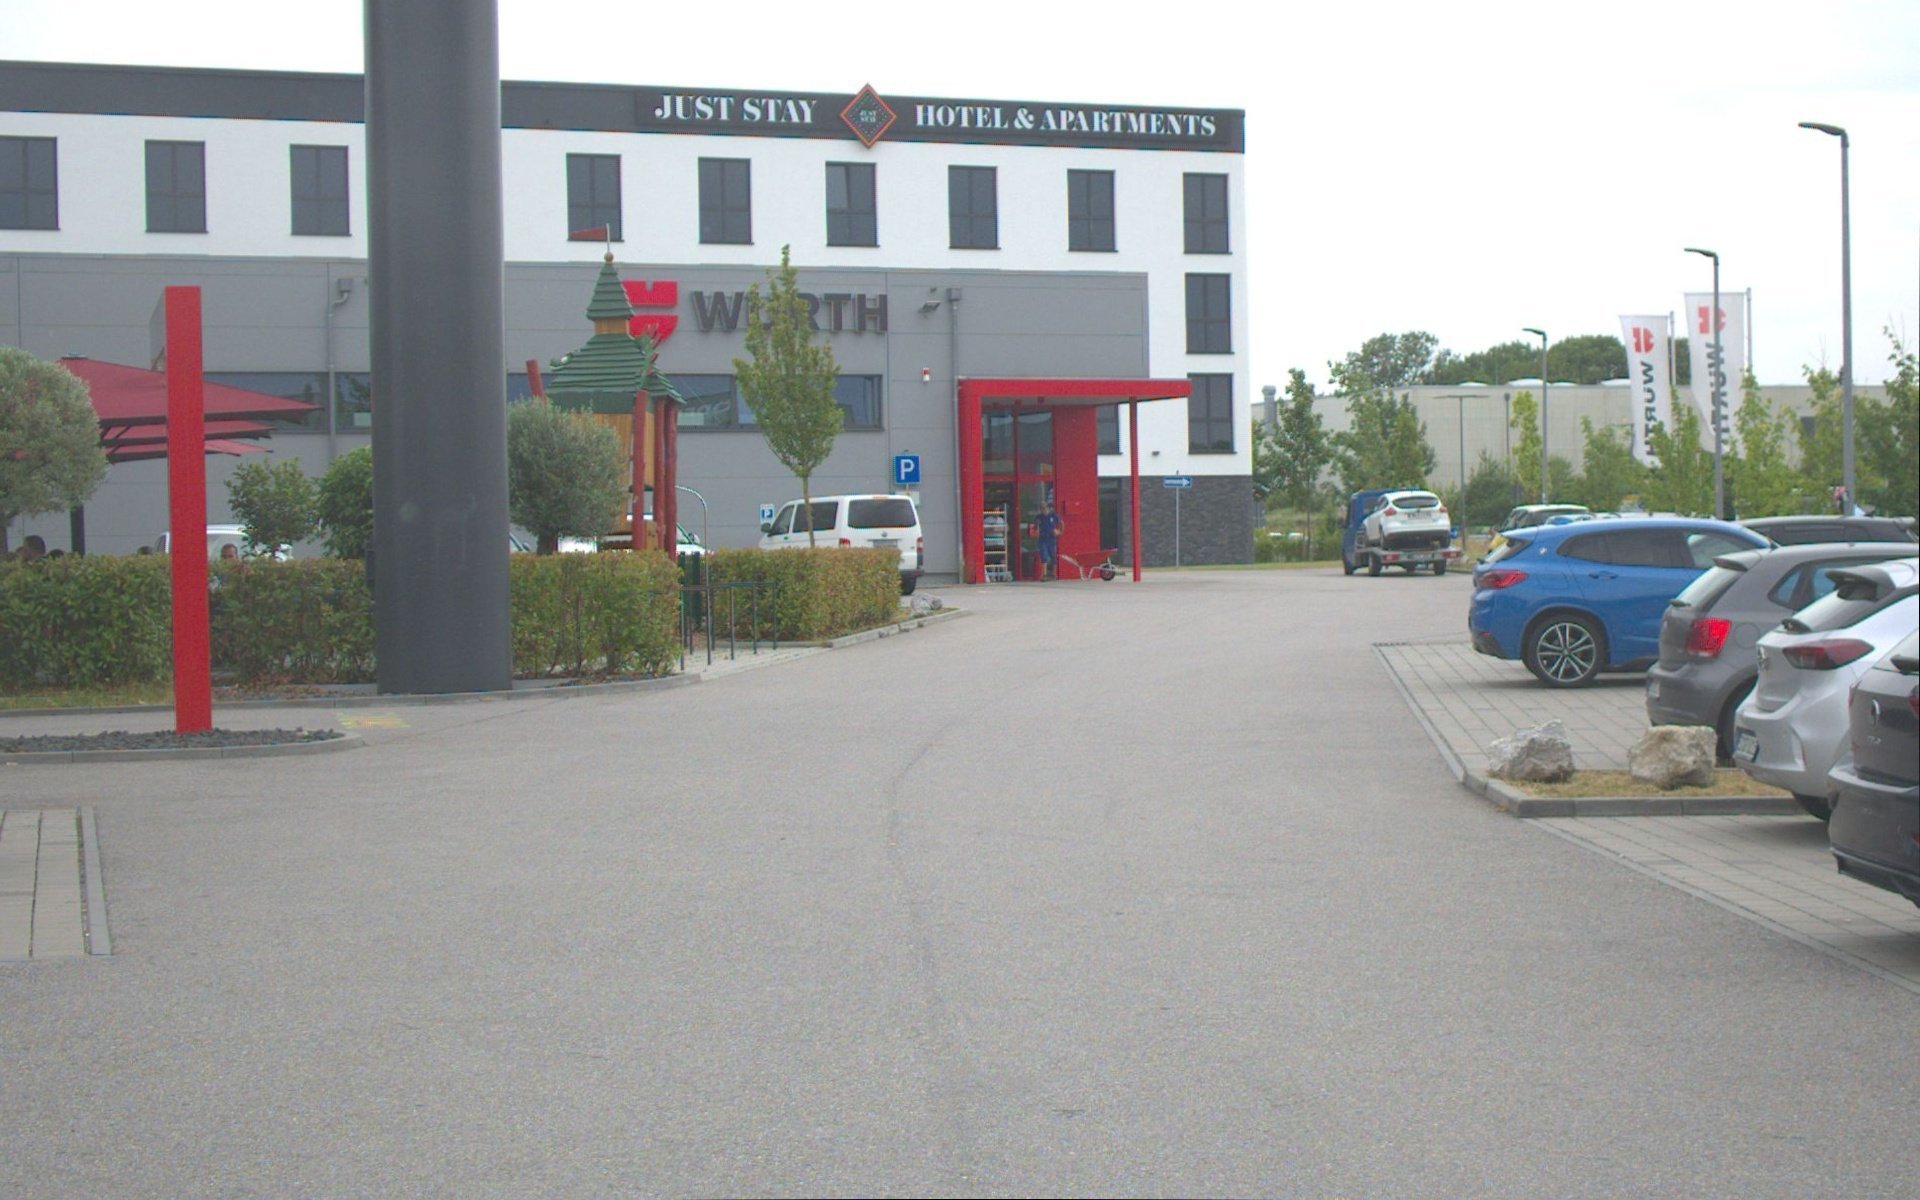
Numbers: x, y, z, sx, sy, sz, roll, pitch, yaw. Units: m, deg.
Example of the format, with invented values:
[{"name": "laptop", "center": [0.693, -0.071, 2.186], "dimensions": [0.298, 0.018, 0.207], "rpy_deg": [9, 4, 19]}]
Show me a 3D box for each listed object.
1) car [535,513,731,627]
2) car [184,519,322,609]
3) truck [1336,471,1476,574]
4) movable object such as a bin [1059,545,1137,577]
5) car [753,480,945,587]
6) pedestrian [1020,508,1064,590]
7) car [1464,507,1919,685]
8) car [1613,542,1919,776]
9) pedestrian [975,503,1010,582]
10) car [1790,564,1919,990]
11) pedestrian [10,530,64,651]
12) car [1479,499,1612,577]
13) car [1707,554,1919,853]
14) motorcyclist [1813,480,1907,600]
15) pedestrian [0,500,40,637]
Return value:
[{"name": "car", "center": [-5.263, -0.473, 54.801], "dimensions": [1.993, 1.645, 4.579], "rpy_deg": [-3, 1, -19]}, {"name": "car", "center": [-13.304, -0.658, 64.501], "dimensions": [1.736, 1.546, 4.265], "rpy_deg": [-3, 1, -22]}, {"name": "truck", "center": [11.760, -1.997, 91.335], "dimensions": [2.331, 2.398, 7.896], "rpy_deg": [0, -1, -3]}, {"name": "movable object such as a bin", "center": [3.065, -0.865, 76.345], "dimensions": [1.488, 0.701, 0.965], "rpy_deg": [-1, 1, -17]}, {"name": "car", "center": [-2.233, -1.292, 68.051], "dimensions": [2.055, 1.849, 4.062], "rpy_deg": [-6, 3, -28]}, {"name": "pedestrian", "center": [1.835, -1.150, 76.936], "dimensions": [0.676, 1.796, 0.880], "rpy_deg": [1, 2, -17]}, {"name": "car", "center": [6.826, -0.056, 31.833], "dimensions": [4.203, 1.539, 1.864], "rpy_deg": [-1, 1, 7]}, {"name": "car", "center": [6.308, 0.352, 22.044], "dimensions": [3.987, 1.423, 1.727], "rpy_deg": [0, 1, 5]}, {"name": "pedestrian", "center": [0.716, -1.278, 76.953], "dimensions": [0.623, 1.745, 0.905], "rpy_deg": [-1, 1, -7]}, {"name": "car", "center": [5.083, 0.601, 12.327], "dimensions": [3.796, 1.407, 1.739], "rpy_deg": [0, 1, 1]}, {"name": "pedestrian", "center": [-9.338, -0.101, 34.780], "dimensions": [0.419, 1.195, 0.457], "rpy_deg": [-3, 1, -9]}, {"name": "car", "center": [12.701, -1.332, 74.776], "dimensions": [1.856, 1.644, 4.001], "rpy_deg": [0, 1, -6]}, {"name": "car", "center": [5.917, 0.497, 17.303], "dimensions": [3.927, 1.407, 1.840], "rpy_deg": [1, 1, 2]}, {"name": "motorcyclist", "center": [11.444, -0.760, 43.731], "dimensions": [0.938, 1.483, 0.830], "rpy_deg": [-2, 1, 0]}, {"name": "pedestrian", "center": [-12.421, -0.406, 44.746], "dimensions": [0.740, 1.742, 0.704], "rpy_deg": [-3, 1, -17]}]
